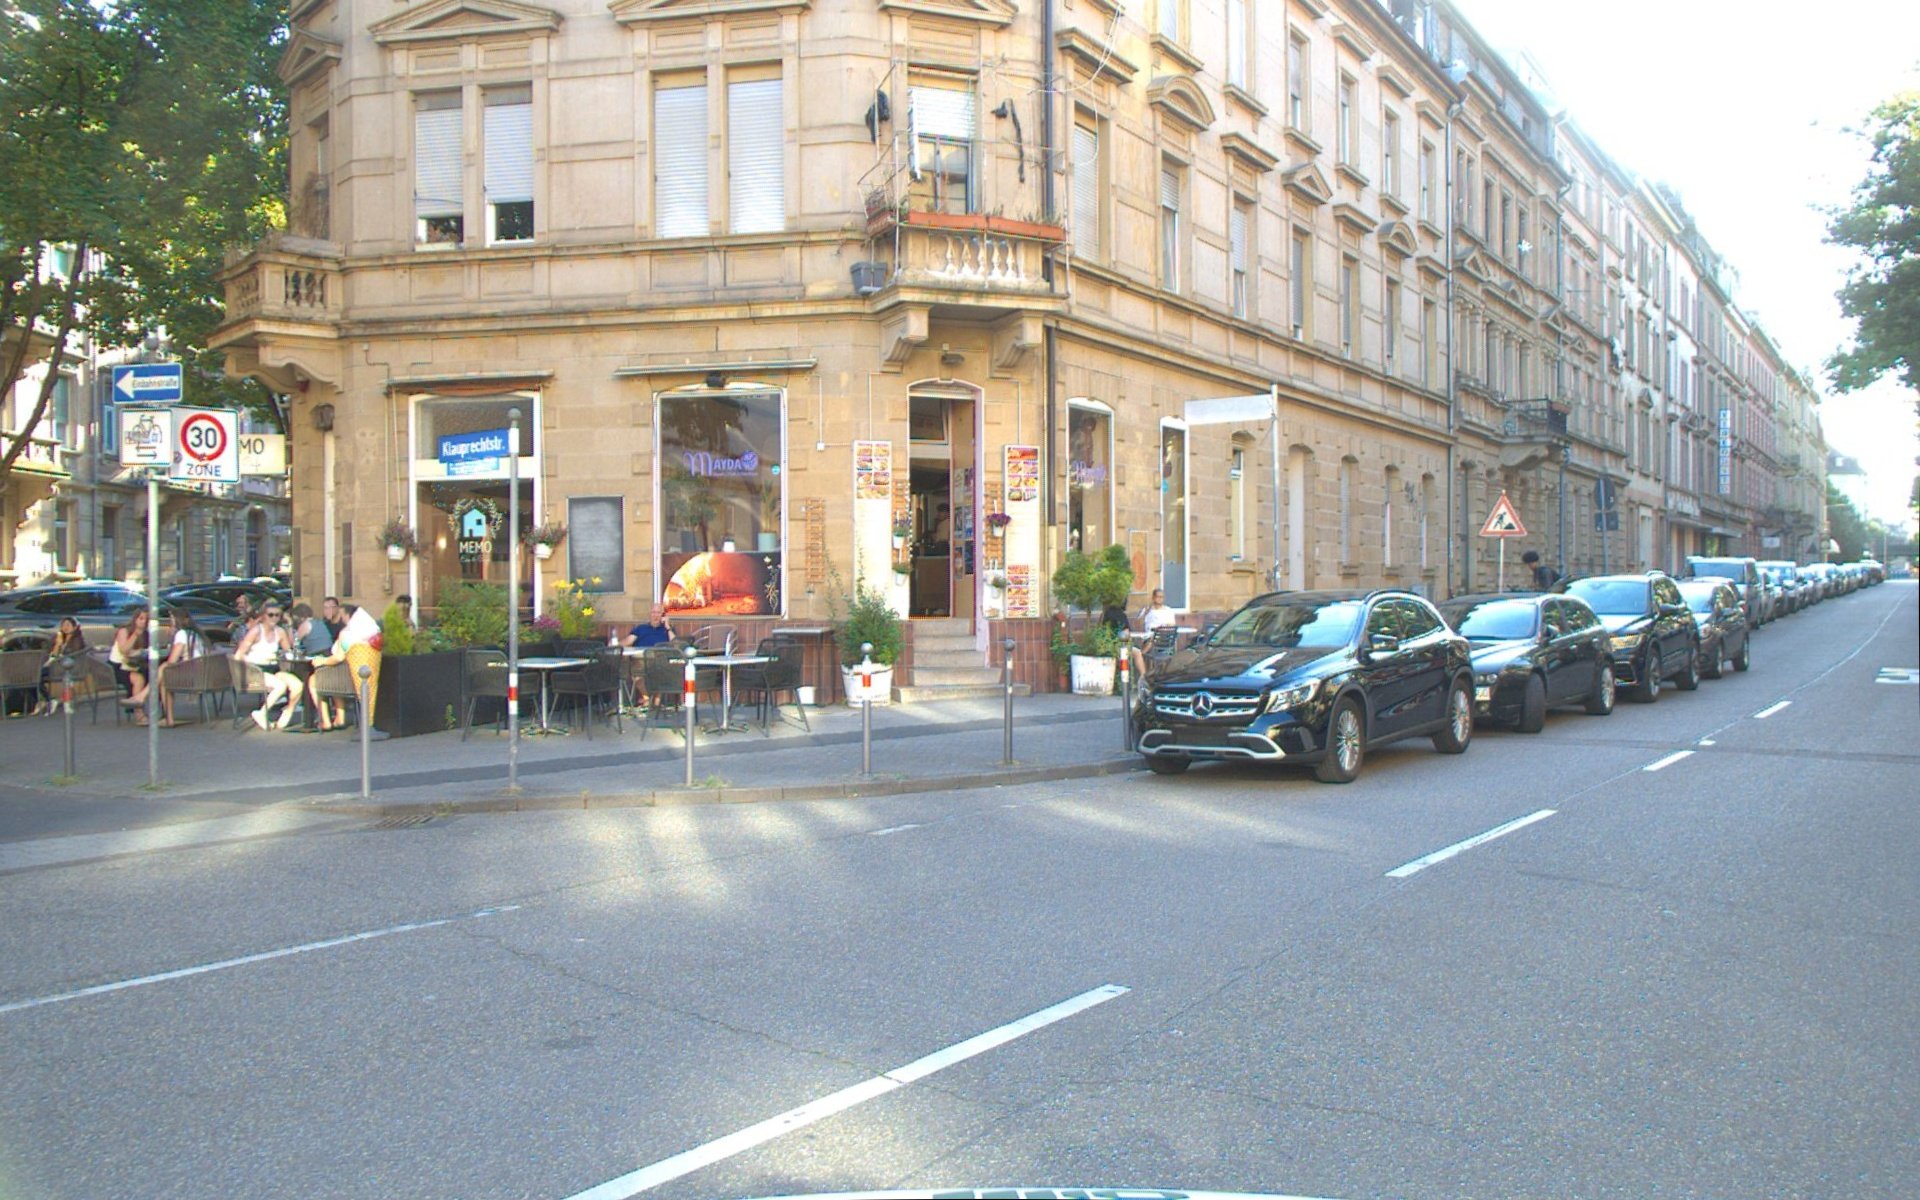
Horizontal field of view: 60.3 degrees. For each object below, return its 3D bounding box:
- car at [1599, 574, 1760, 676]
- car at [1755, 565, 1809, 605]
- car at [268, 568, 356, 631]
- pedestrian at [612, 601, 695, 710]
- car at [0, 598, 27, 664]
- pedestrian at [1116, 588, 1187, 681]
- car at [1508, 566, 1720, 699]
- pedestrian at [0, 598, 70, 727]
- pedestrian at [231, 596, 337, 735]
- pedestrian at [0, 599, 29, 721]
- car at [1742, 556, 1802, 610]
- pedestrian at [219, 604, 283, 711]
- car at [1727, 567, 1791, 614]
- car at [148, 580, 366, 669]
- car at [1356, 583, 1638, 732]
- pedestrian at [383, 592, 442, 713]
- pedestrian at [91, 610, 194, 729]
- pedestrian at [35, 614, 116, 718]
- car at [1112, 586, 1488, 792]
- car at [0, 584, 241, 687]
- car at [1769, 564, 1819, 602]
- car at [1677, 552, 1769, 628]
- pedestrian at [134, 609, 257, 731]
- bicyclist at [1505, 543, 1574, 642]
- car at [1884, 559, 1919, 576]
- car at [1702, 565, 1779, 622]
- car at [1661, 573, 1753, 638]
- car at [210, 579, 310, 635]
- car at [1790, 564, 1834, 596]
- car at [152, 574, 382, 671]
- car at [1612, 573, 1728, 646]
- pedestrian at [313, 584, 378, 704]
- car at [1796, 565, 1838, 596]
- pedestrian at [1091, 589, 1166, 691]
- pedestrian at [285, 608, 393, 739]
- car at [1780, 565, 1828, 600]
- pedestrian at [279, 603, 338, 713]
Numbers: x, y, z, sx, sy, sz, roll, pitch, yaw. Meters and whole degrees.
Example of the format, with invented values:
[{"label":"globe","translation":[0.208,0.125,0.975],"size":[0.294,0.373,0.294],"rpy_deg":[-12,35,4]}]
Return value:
[{"label":"car","translation":[11.985,0.372,27.424],"size":[1.728,1.527,4.047],"rpy_deg":[-1,0,34]},{"label":"car","translation":[32.525,-0.609,65.396],"size":[1.725,1.498,4.053],"rpy_deg":[-1,1,29]},{"label":"car","translation":[-22.982,-0.033,58.751],"size":[1.771,2.121,3.750],"rpy_deg":[-1,0,-3]},{"label":"pedestrian","translation":[-3.579,0.637,19.366],"size":[0.710,1.235,0.757],"rpy_deg":[-1,0,12]},{"label":"car","translation":[-21.202,0.672,34.143],"size":[1.884,1.400,3.750],"rpy_deg":[-1,0,-3]},{"label":"pedestrian","translation":[2.599,0.459,22.422],"size":[0.711,1.235,0.755],"rpy_deg":[-1,0,29]},{"label":"car","translation":[9.173,0.385,22.977],"size":[1.728,1.628,4.535],"rpy_deg":[-1,0,35]},{"label":"pedestrian","translation":[-11.075,0.729,19.567],"size":[0.656,1.467,0.762],"rpy_deg":[-2,0,43]},{"label":"pedestrian","translation":[-7.173,0.678,17.560],"size":[0.738,1.435,0.728],"rpy_deg":[-1,0,19]},{"label":"pedestrian","translation":[-11.894,0.743,20.164],"size":[0.656,1.467,0.762],"rpy_deg":[-2,0,43]},{"label":"car","translation":[30.050,-0.653,61.147],"size":[1.725,1.874,4.522],"rpy_deg":[-1,1,29]},{"label":"pedestrian","translation":[-8.597,0.689,20.055],"size":[0.471,1.270,0.510],"rpy_deg":[-1,1,29]},{"label":"car","translation":[27.546,-0.365,56.991],"size":[1.725,1.492,3.993],"rpy_deg":[2,2,29]},{"label":"car","translation":[-14.429,0.462,33.959],"size":[3.944,1.713,1.980],"rpy_deg":[-1,0,-30]},{"label":"car","translation":[6.235,0.572,18.863],"size":[1.729,1.477,4.533],"rpy_deg":[-1,0,36]},{"label":"pedestrian","translation":[-6.454,0.608,19.496],"size":[0.471,1.391,0.434],"rpy_deg":[-1,1,23]},{"label":"pedestrian","translation":[-9.107,0.757,18.430],"size":[0.691,1.270,0.748],"rpy_deg":[-1,1,29]},{"label":"pedestrian","translation":[-10.924,0.803,20.438],"size":[0.656,1.237,0.673],"rpy_deg":[-2,0,42]},{"label":"car","translation":[3.116,0.666,14.492],"size":[1.728,1.514,4.124],"rpy_deg":[-1,0,35]},{"label":"car","translation":[-14.225,0.549,27.664],"size":[3.791,1.589,1.781],"rpy_deg":[-1,0,-35]},{"label":"car","translation":[35.633,-0.743,70.631],"size":[1.725,1.498,4.053],"rpy_deg":[-1,1,29]},{"label":"car","translation":[21.307,-0.336,46.087],"size":[1.798,1.977,5.249],"rpy_deg":[1,2,31]},{"label":"pedestrian","translation":[-8.324,0.744,18.007],"size":[1.002,1.270,0.748],"rpy_deg":[-1,1,28]},{"label":"bicyclist","translation":[11.023,-0.116,31.459],"size":[0.978,1.821,1.204],"rpy_deg":[-1,-3,33]},{"label":"car","translation":[102.477,-3.530,179.166],"size":[3.925,1.891,1.742],"rpy_deg":[1,2,40]},{"label":"car","translation":[24.209,-0.245,51.248],"size":[1.721,1.636,4.375],"rpy_deg":[1,2,31]},{"label":"car","translation":[18.644,0.089,41.202],"size":[1.564,1.501,3.689],"rpy_deg":[1,2,33]},{"label":"car","translation":[-22.587,0.208,53.479],"size":[1.771,1.713,3.750],"rpy_deg":[-1,0,-3]},{"label":"car","translation":[41.301,-0.987,80.169],"size":[1.725,1.498,4.053],"rpy_deg":[-1,1,29]},{"label":"car","translation":[-13.130,0.394,31.605],"size":[3.928,1.713,1.988],"rpy_deg":[-1,0,-20]},{"label":"car","translation":[16.100,0.189,37.418],"size":[1.727,1.527,4.048],"rpy_deg":[-1,0,33]},{"label":"pedestrian","translation":[-7.608,0.539,20.480],"size":[0.556,1.456,0.482],"rpy_deg":[-1,1,20]},{"label":"car","translation":[43.682,-1.014,84.287],"size":[1.725,1.498,4.053],"rpy_deg":[-1,1,29]},{"label":"pedestrian","translation":[2.175,0.506,21.332],"size":[0.711,1.281,0.755],"rpy_deg":[-1,0,29]},{"label":"pedestrian","translation":[-6.444,0.745,17.178],"size":[0.728,1.312,0.743],"rpy_deg":[-1,0,21]},{"label":"car","translation":[38.178,-0.820,74.774],"size":[1.725,1.498,4.053],"rpy_deg":[-1,1,29]},{"label":"pedestrian","translation":[-7.724,0.677,19.618],"size":[0.471,1.270,0.433],"rpy_deg":[-1,1,29]}]
